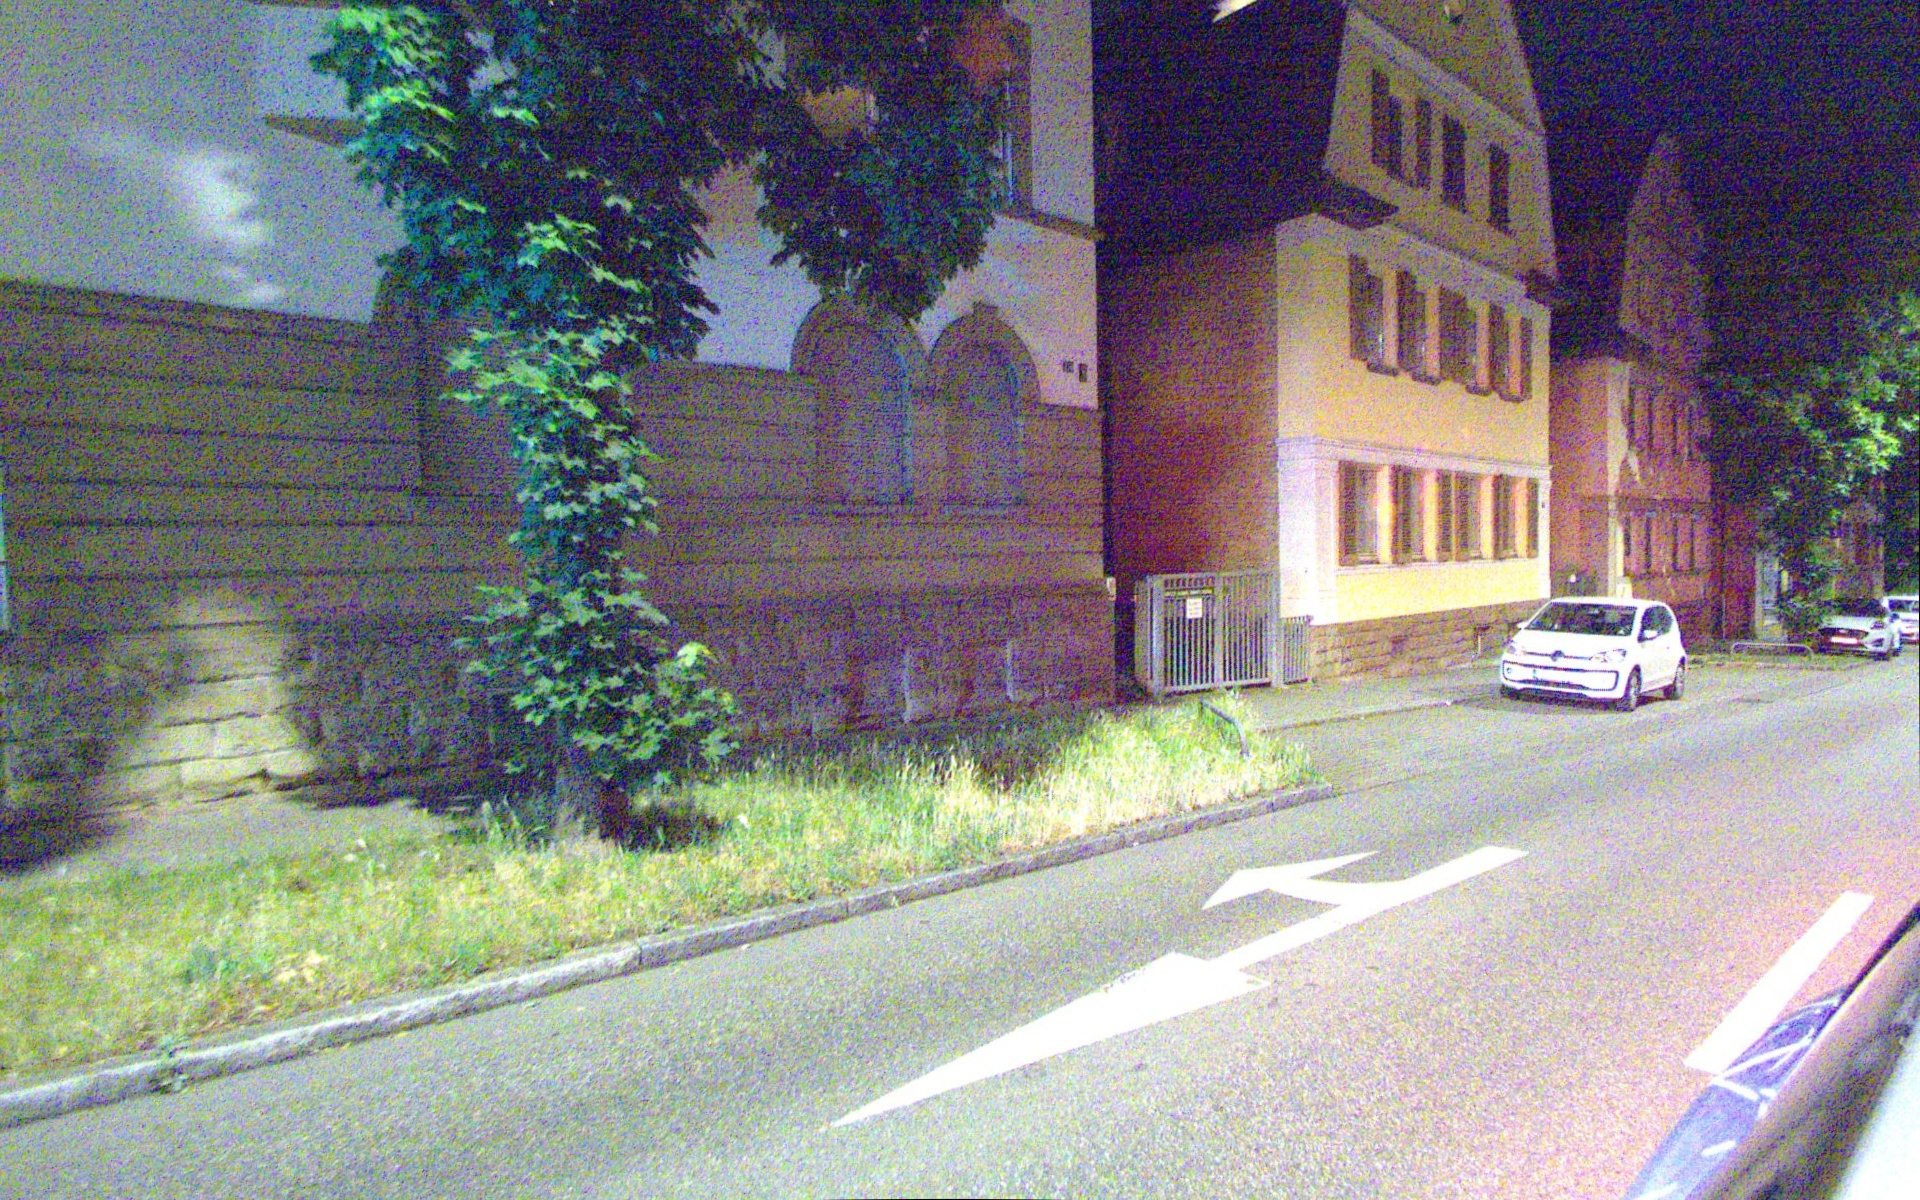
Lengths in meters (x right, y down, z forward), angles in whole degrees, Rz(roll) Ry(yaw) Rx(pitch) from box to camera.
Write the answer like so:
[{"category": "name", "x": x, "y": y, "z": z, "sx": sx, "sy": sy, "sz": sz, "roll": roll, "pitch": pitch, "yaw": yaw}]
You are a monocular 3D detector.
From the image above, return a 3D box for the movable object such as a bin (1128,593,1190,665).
[{"category": "movable object such as a bin", "x": 3.040, "y": 0.423, "z": 15.452, "sx": 0.742, "sy": 1.062, "sz": 0.608, "roll": 0, "pitch": 0, "yaw": -41}]

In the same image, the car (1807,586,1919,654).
[{"category": "car", "x": 23.791, "y": 0.476, "z": 26.577, "sx": 3.977, "sy": 1.572, "sz": 1.862, "roll": 0, "pitch": 3, "yaw": -43}]

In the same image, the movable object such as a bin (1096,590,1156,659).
[{"category": "movable object such as a bin", "x": 2.613, "y": 0.370, "z": 15.945, "sx": 0.742, "sy": 1.062, "sz": 0.608, "roll": 0, "pitch": 0, "yaw": -41}]

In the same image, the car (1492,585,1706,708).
[{"category": "car", "x": 9.308, "y": 0.579, "z": 14.654, "sx": 3.541, "sy": 1.503, "sz": 1.671, "roll": 0, "pitch": 2, "yaw": -42}]

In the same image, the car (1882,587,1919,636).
[{"category": "car", "x": 33.772, "y": 0.397, "z": 35.348, "sx": 4.281, "sy": 1.616, "sz": 1.742, "roll": 0, "pitch": 3, "yaw": -40}]
